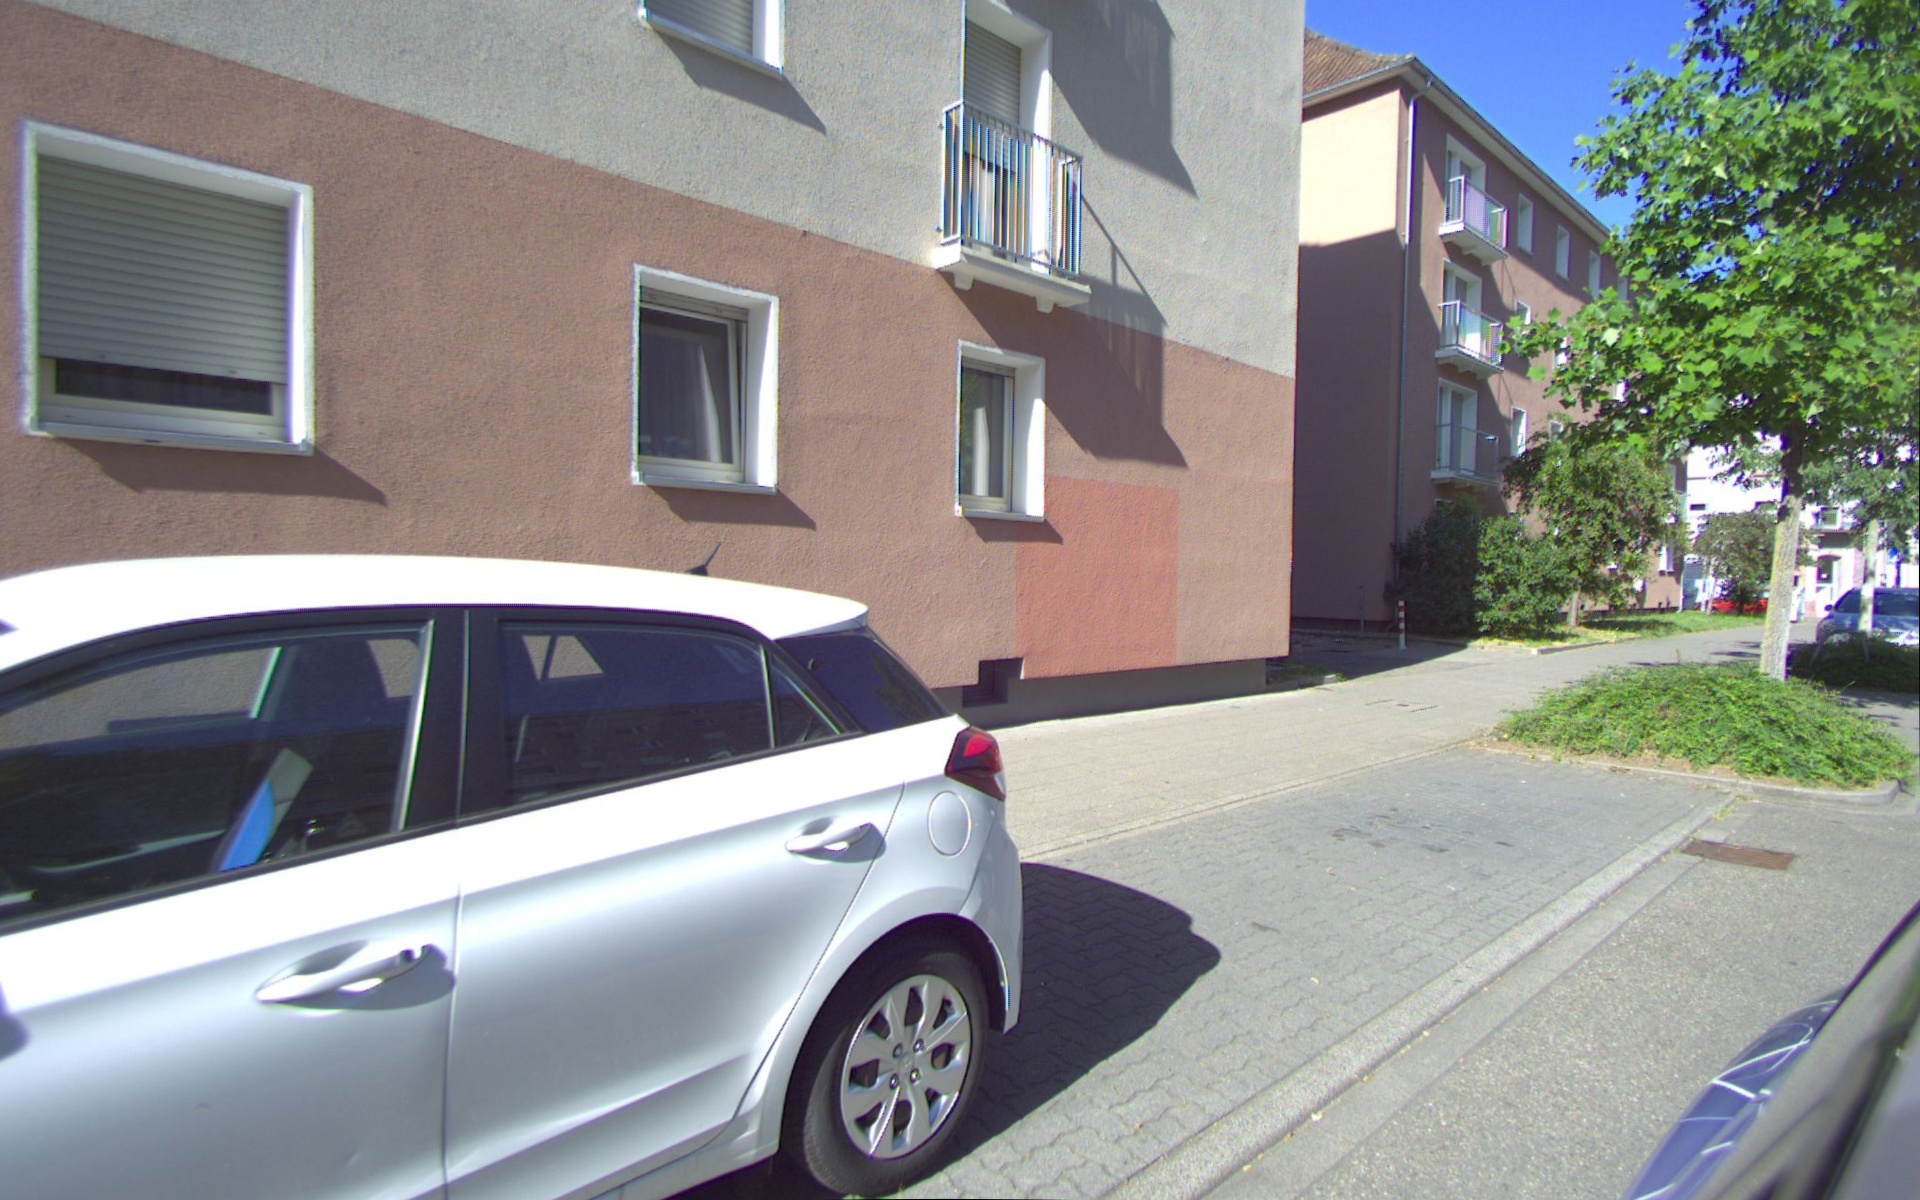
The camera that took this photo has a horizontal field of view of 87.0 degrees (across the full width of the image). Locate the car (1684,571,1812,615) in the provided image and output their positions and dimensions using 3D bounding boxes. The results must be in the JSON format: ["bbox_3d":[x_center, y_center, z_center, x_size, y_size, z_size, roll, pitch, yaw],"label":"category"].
[{"bbox_3d":[38.465,-0.393,49.471,4.742,2.038,1.969,2,2,43],"label":"car"}]

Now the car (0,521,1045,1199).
[{"bbox_3d":[-1.725,0.606,1.957,3.733,1.504,1.733,-1,4,-44],"label":"car"}]

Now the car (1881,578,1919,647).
[{"bbox_3d":[22.655,0.261,23.379,4.238,1.500,1.660,-1,2,-43],"label":"car"}]

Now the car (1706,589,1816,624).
[{"bbox_3d":[35.495,0.251,44.903,1.541,1.419,3.644,-1,2,-42],"label":"car"}]

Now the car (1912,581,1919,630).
[{"bbox_3d":[30.052,0.168,30.450,3.932,1.446,1.734,-1,2,-42],"label":"car"}]

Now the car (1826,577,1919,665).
[{"bbox_3d":[17.999,0.339,19.343,3.933,1.471,1.718,-2,3,-43],"label":"car"}]
